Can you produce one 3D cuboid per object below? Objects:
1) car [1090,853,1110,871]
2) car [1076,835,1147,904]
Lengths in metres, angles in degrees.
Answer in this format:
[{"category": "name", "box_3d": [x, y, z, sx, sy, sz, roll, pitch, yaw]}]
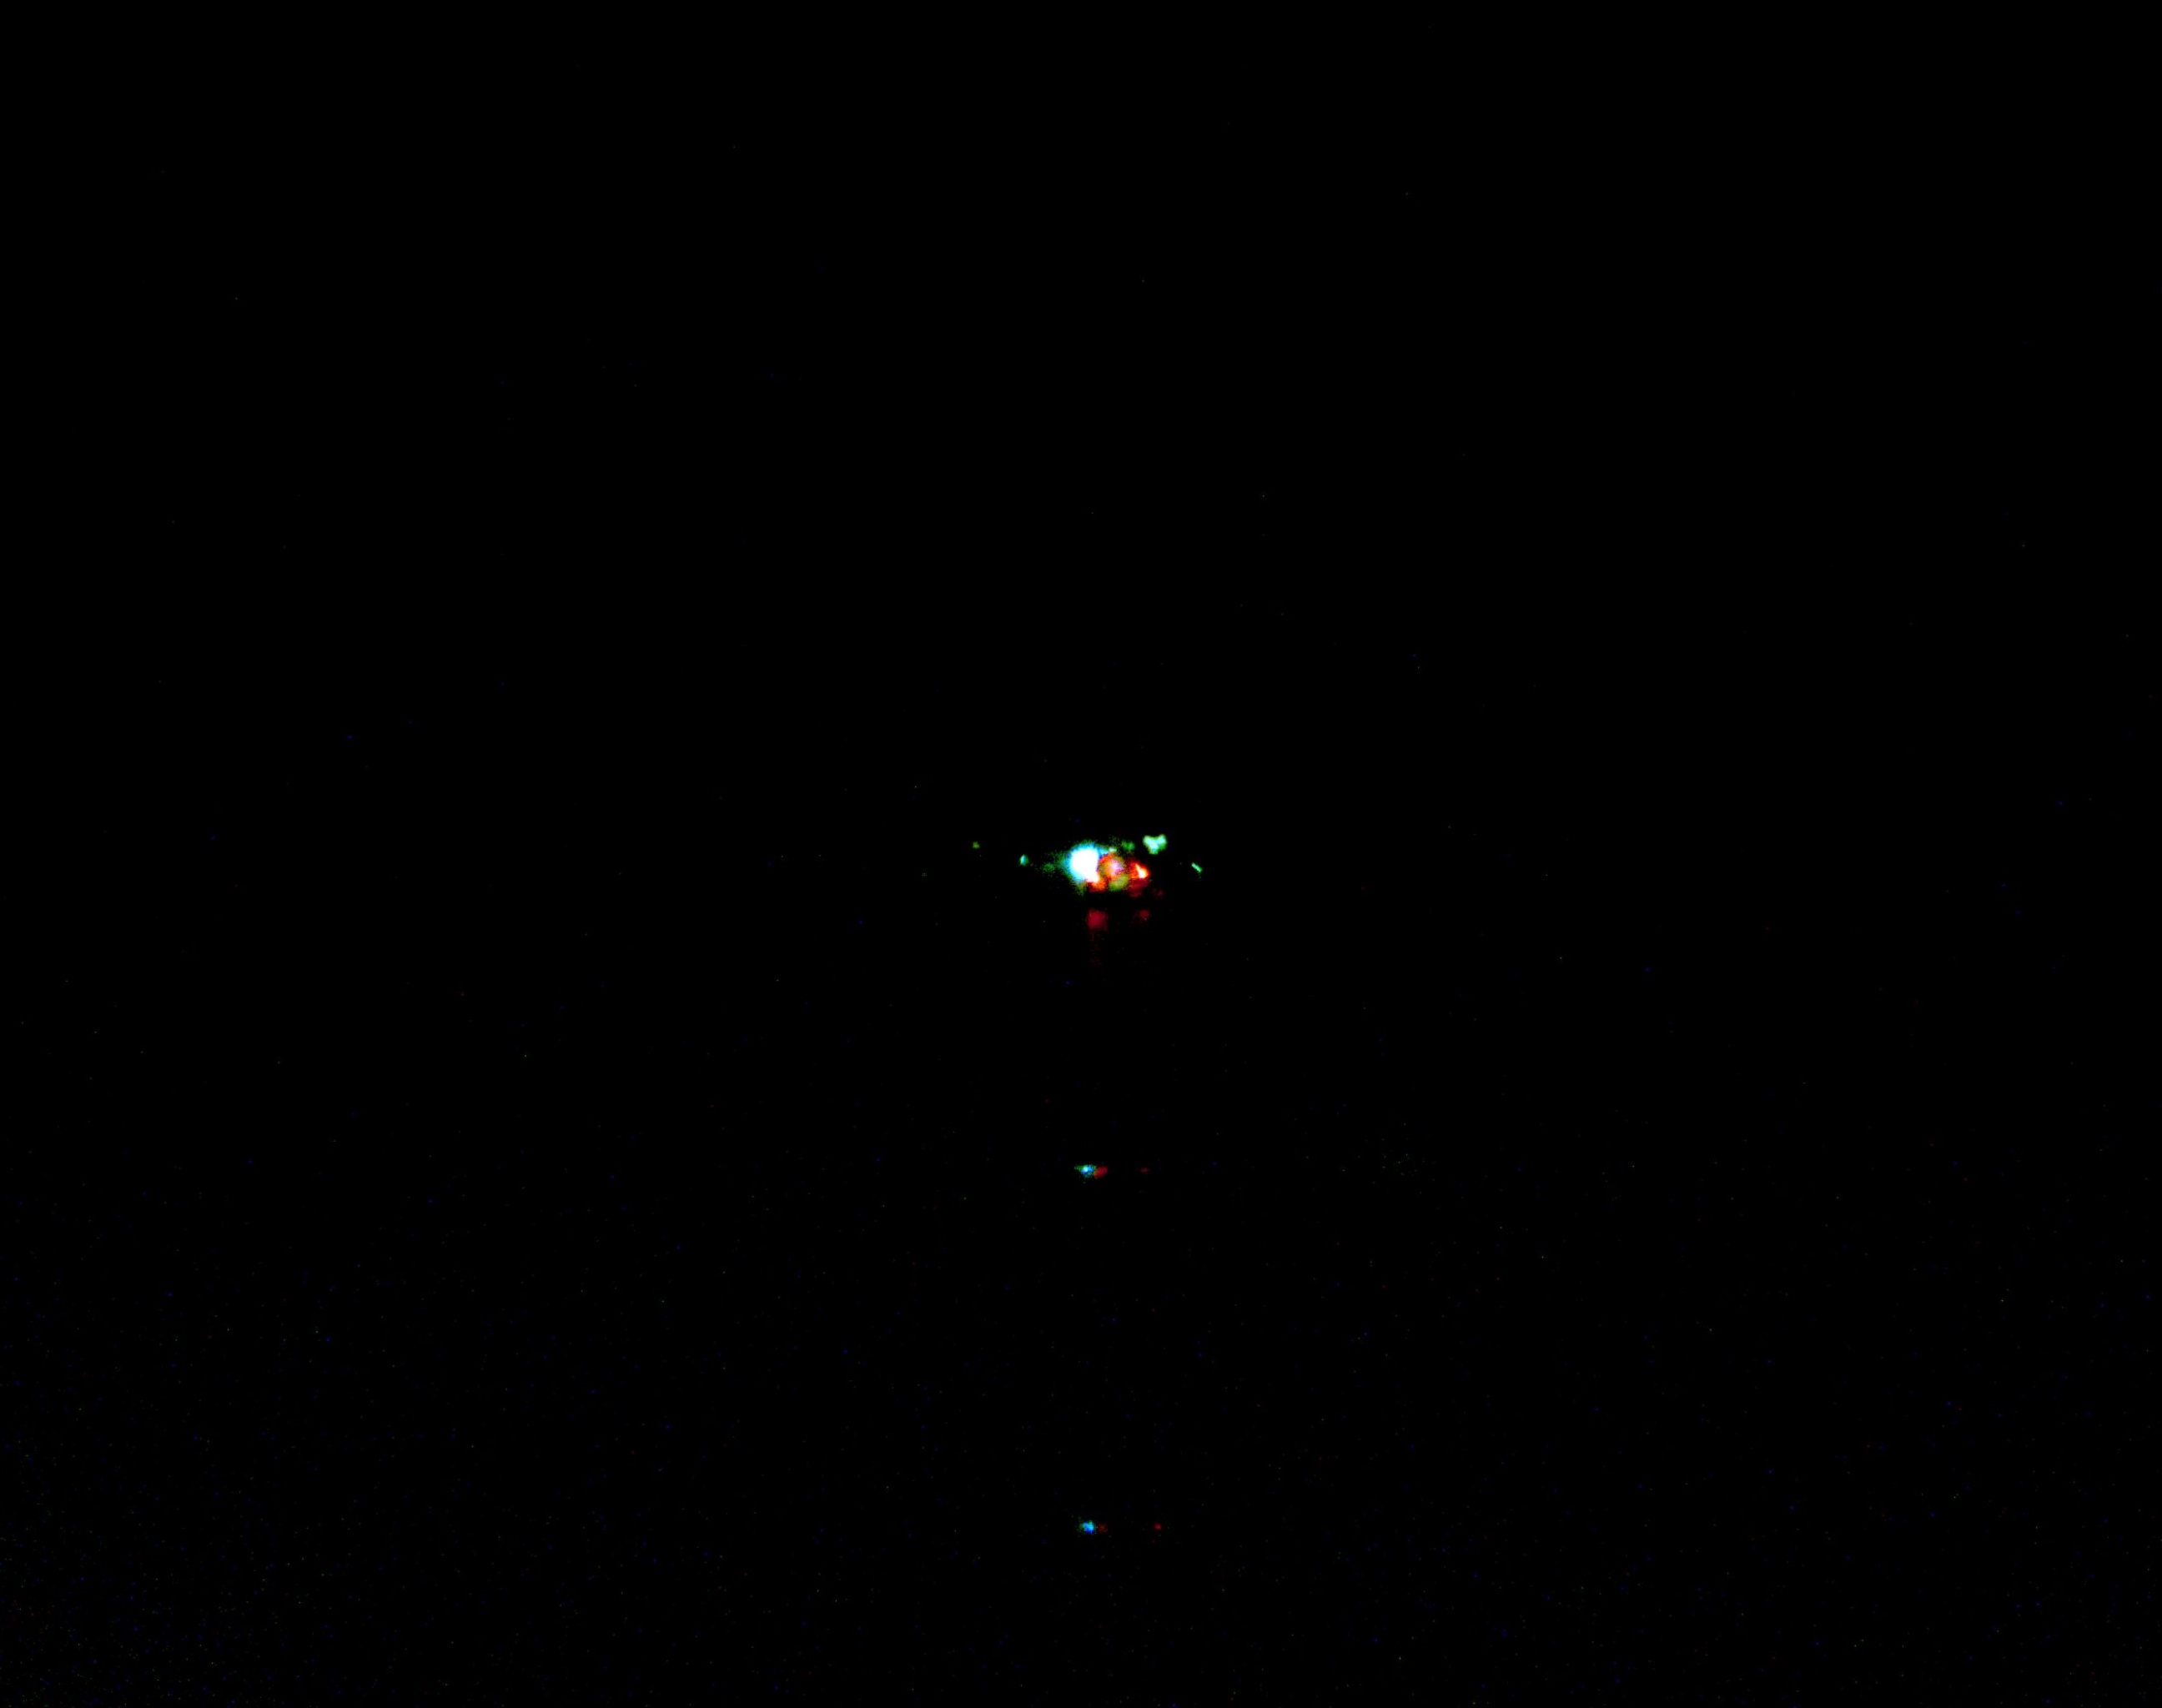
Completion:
[{"category": "car", "box_3d": [1.763, 0.701, 75.568, 1.802, 1.621, 4.001, -1, 0, 1]}, {"category": "car", "box_3d": [0.971, 0.451, 26.031, 2.085, 2.013, 4.002, 0, 0, 2]}]
